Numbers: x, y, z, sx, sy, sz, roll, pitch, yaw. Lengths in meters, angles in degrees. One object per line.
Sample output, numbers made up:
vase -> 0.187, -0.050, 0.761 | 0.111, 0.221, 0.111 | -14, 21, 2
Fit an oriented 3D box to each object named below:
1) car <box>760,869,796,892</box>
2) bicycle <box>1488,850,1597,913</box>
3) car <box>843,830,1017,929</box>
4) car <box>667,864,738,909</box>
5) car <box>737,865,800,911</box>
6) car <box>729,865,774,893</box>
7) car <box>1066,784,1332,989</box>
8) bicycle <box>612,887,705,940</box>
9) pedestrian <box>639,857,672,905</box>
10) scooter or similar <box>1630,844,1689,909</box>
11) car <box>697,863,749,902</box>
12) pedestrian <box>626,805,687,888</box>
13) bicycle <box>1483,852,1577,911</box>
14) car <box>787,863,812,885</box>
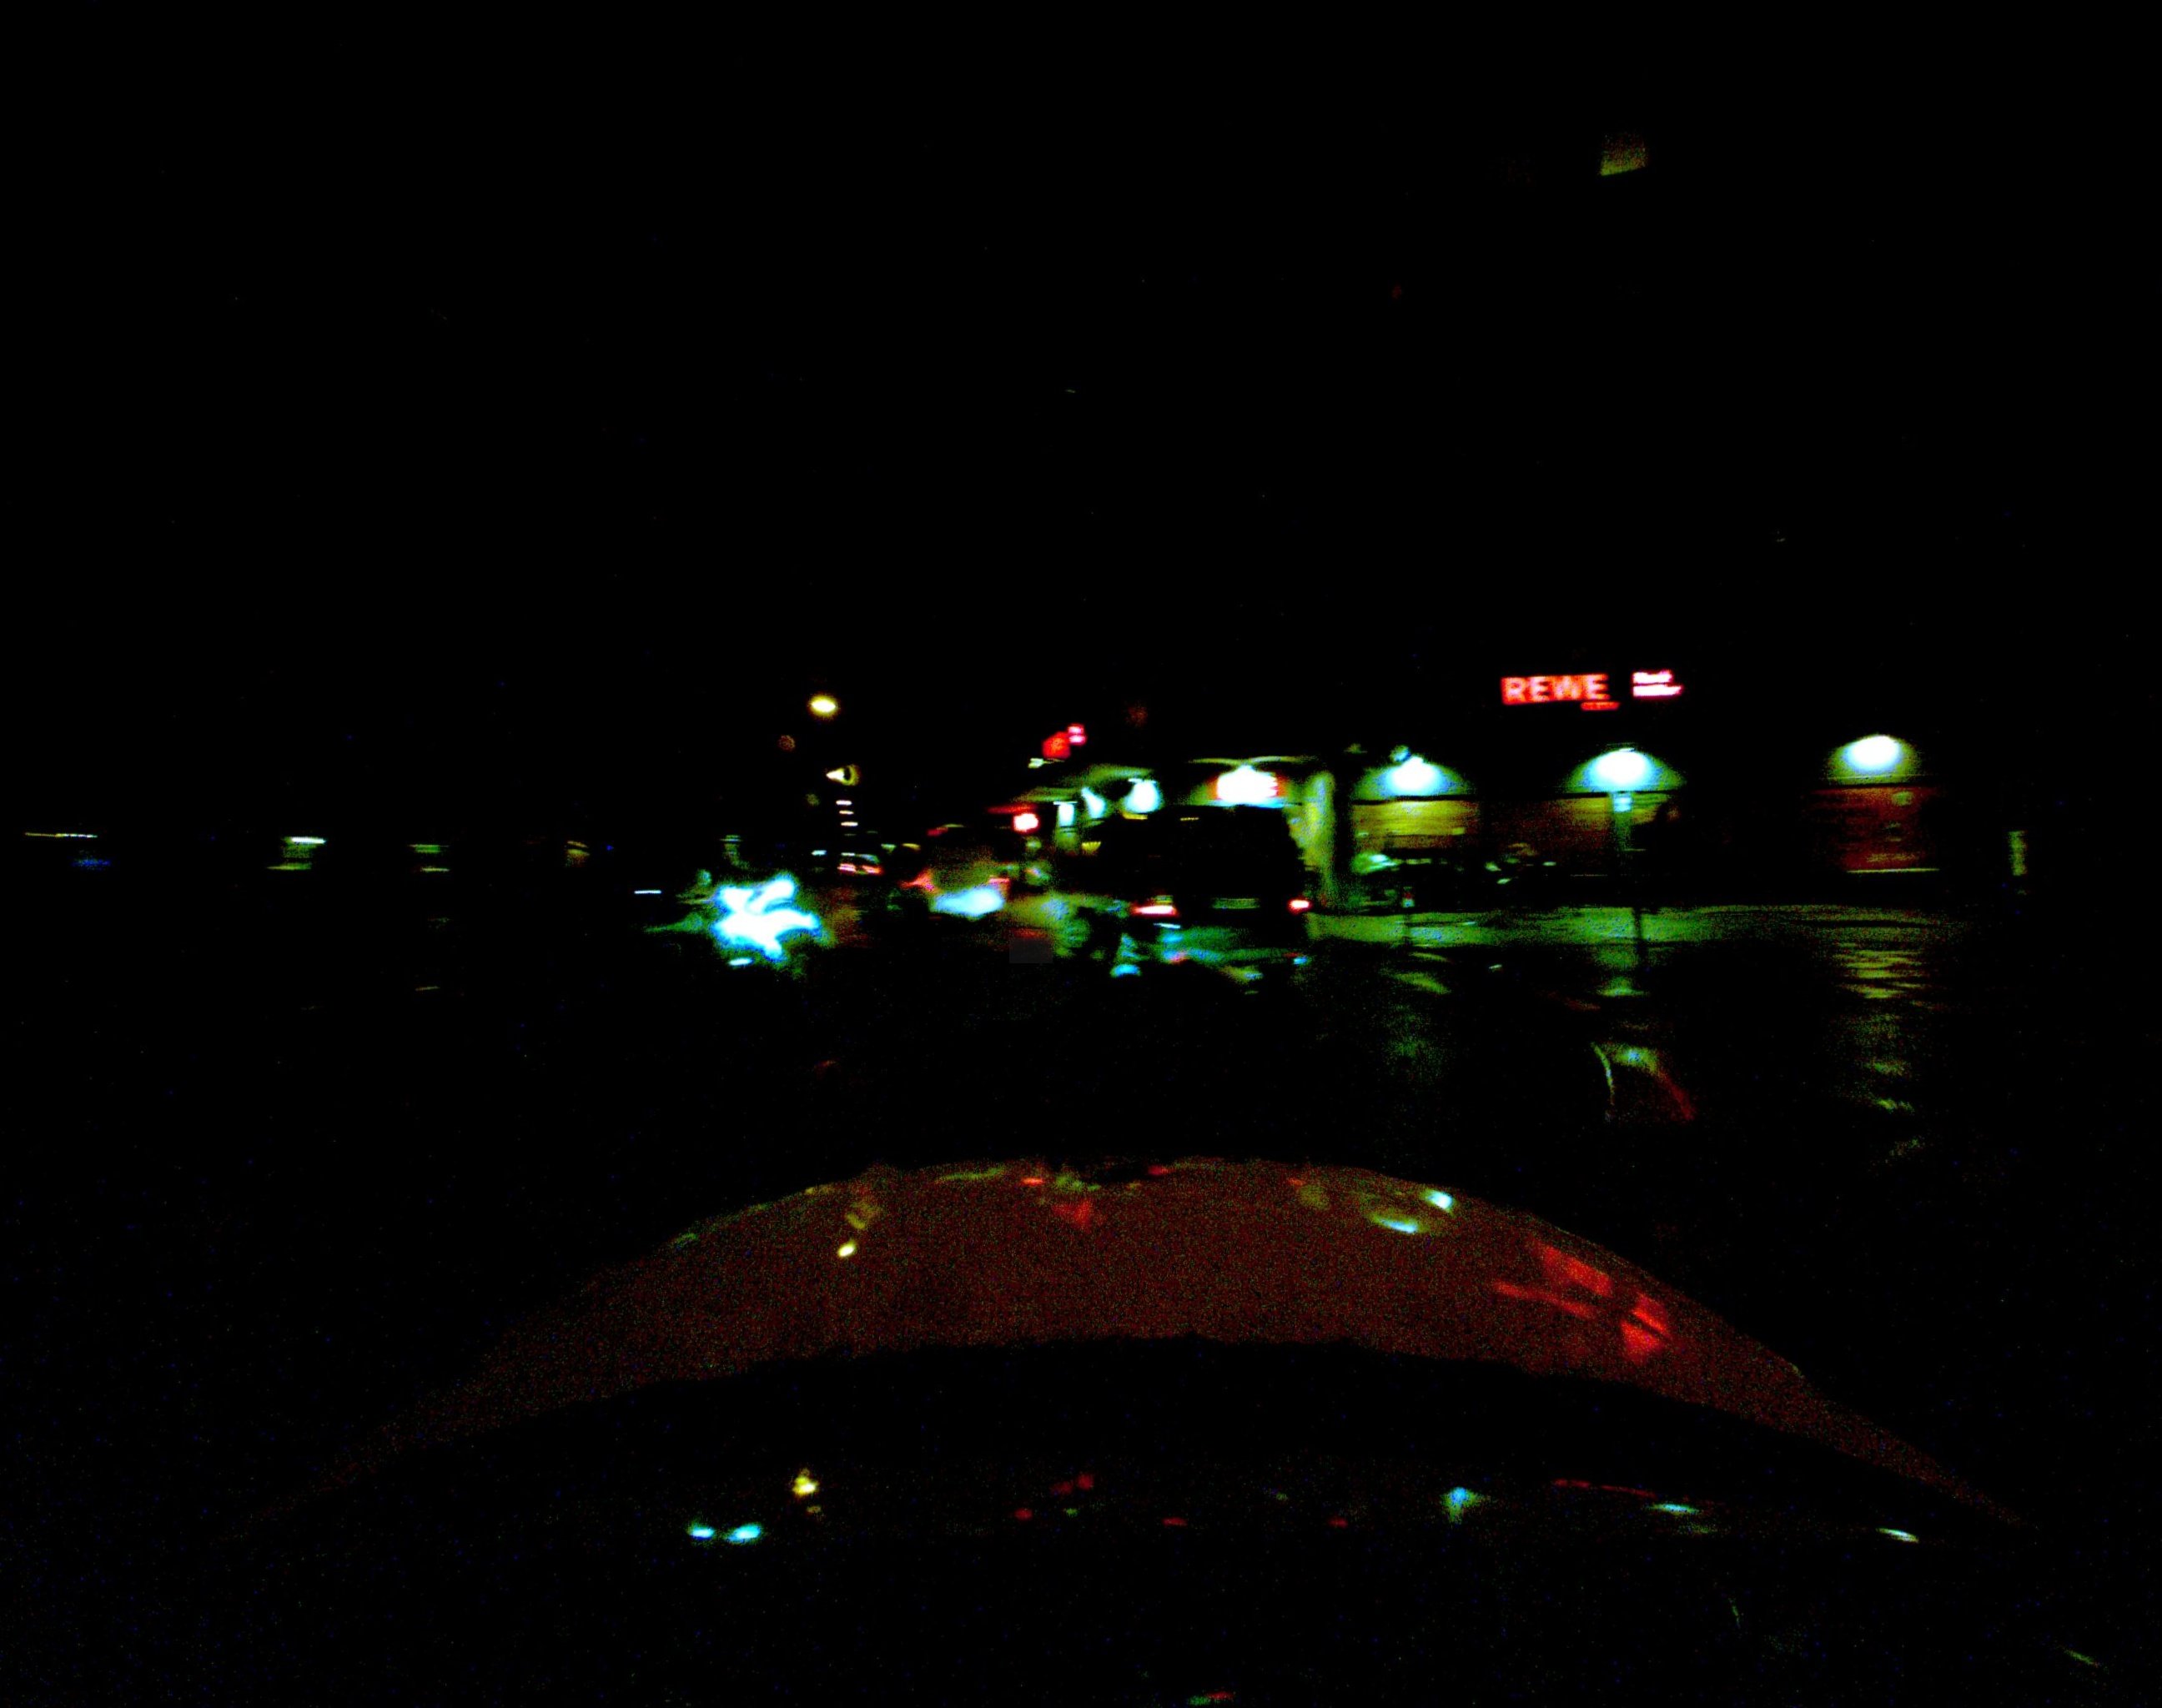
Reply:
car -> -20.455, 1.761, 55.140 | 1.998, 1.449, 3.977 | 1, -1, -17
bicycle -> 8.862, 0.534, 15.681 | 1.769, 1.174, 0.385 | -1, 0, 12
car -> -3.564, 0.505, 18.385 | 2.138, 1.922, 4.775 | 0, 0, -34
car -> -13.539, 1.122, 29.311 | 1.589, 1.463, 4.003 | 2, -1, -15
car -> -11.106, 1.153, 29.125 | 1.565, 1.427, 4.049 | -3, 0, -14
car -> -17.559, 1.290, 43.527 | 1.693, 1.401, 4.294 | -1, 0, -15
car -> 1.154, 0.315, 10.348 | 2.121, 1.991, 4.587 | -1, 0, -8
bicycle -> -9.590, 1.323, 18.506 | 1.808, 1.059, 0.707 | -2, 0, -33
pedestrian -> -16.049, 1.001, 30.728 | 0.804, 1.766, 1.012 | 0, -1, -10
scooter or similar -> 11.385, 0.412, 16.065 | 0.521, 1.229, 1.318 | 0, 1, 14
car -> -14.973, 1.156, 34.206 | 1.589, 1.510, 2.773 | -1, 0, -15
pedestrian -> -9.640, -0.177, 18.497 | 1.130, 1.811, 0.707 | -2, 0, -33
bicycle -> 9.118, 0.547, 16.581 | 1.631, 1.174, 0.385 | 0, -3, 12
car -> -26.331, 1.877, 76.307 | 1.998, 2.014, 3.978 | 1, -1, -16
